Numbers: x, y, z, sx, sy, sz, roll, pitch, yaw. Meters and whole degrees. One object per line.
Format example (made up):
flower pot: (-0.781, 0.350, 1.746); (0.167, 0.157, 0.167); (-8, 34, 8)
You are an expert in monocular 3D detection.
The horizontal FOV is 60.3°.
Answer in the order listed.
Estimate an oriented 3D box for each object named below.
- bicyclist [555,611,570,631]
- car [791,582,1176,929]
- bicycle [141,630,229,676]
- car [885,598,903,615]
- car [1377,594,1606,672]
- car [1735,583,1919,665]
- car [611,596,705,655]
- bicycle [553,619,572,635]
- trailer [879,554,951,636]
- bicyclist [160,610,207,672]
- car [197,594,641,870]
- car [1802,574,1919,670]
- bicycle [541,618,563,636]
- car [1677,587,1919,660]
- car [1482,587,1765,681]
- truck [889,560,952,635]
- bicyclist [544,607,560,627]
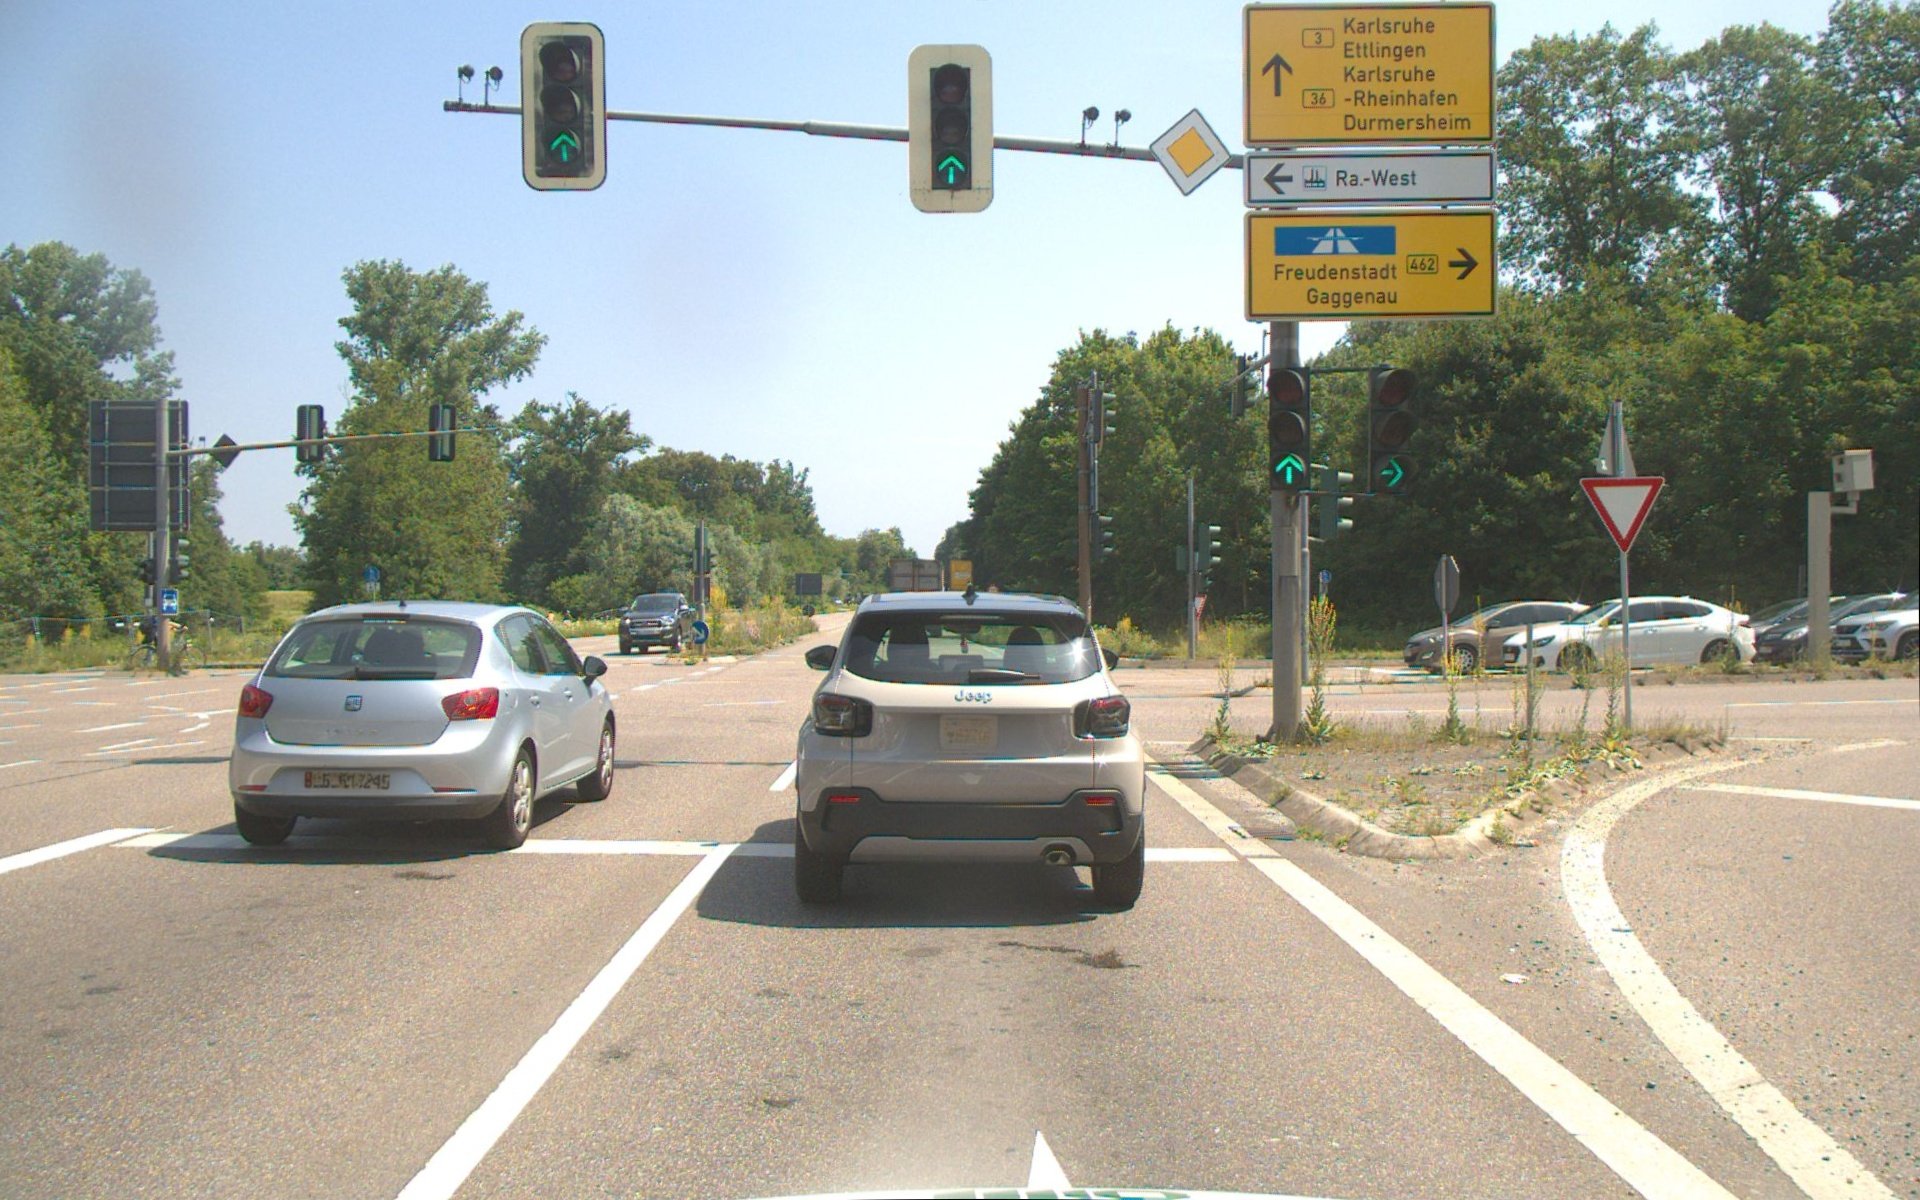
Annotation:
bicyclist: (-25.468, 1.350, 105.916); (0.719, 1.216, 0.592); (-2, -1, 10)
car: (0.103, 0.708, 9.475); (1.731, 1.562, 4.000); (0, 0, 0)
bicycle: (-19.143, 1.293, 40.869); (0.710, 1.082, 1.862); (-1, 0, 36)
car: (-8.010, 0.823, 201.092); (1.953, 2.049, 4.552); (-1, 0, -1)
car: (10.837, 0.664, 33.920); (4.010, 1.472, 1.994); (-1, 0, -3)
car: (18.391, 0.475, 33.555); (4.330, 1.562, 2.121); (-1, -1, -1)
car: (-9.456, 0.765, 52.178); (1.953, 1.707, 5.365); (-2, 0, 0)
bicycle: (-25.433, 1.734, 105.933); (0.591, 1.023, 1.557); (-2, -1, 10)
trailer: (-2.271, -0.206, 87.902); (3.313, 4.058, 10.804); (1, -1, 1)
bicyclist: (-19.169, 1.011, 40.836); (0.908, 1.485, 0.713); (-1, 0, 37)
car: (-3.285, 0.717, 10.838); (1.632, 1.455, 3.828); (1, 0, 0)
car: (18.069, 0.370, 30.484); (4.087, 1.688, 2.000); (-1, 0, -1)
bicycle: (-25.205, 1.670, 102.269); (0.661, 1.023, 1.802); (-2, 0, 9)
car: (18.887, 0.532, 37.272); (4.523, 1.525, 2.111); (-1, -1, -1)
car: (12.002, 0.599, 30.091); (4.331, 1.562, 1.999); (-1, 0, -3)
truck: (-2.181, -0.099, 93.544); (3.264, 4.058, 6.533); (1, -1, 1)
bicyclist: (-25.229, 1.058, 102.227); (0.741, 1.216, 0.592); (-2, 0, 9)
